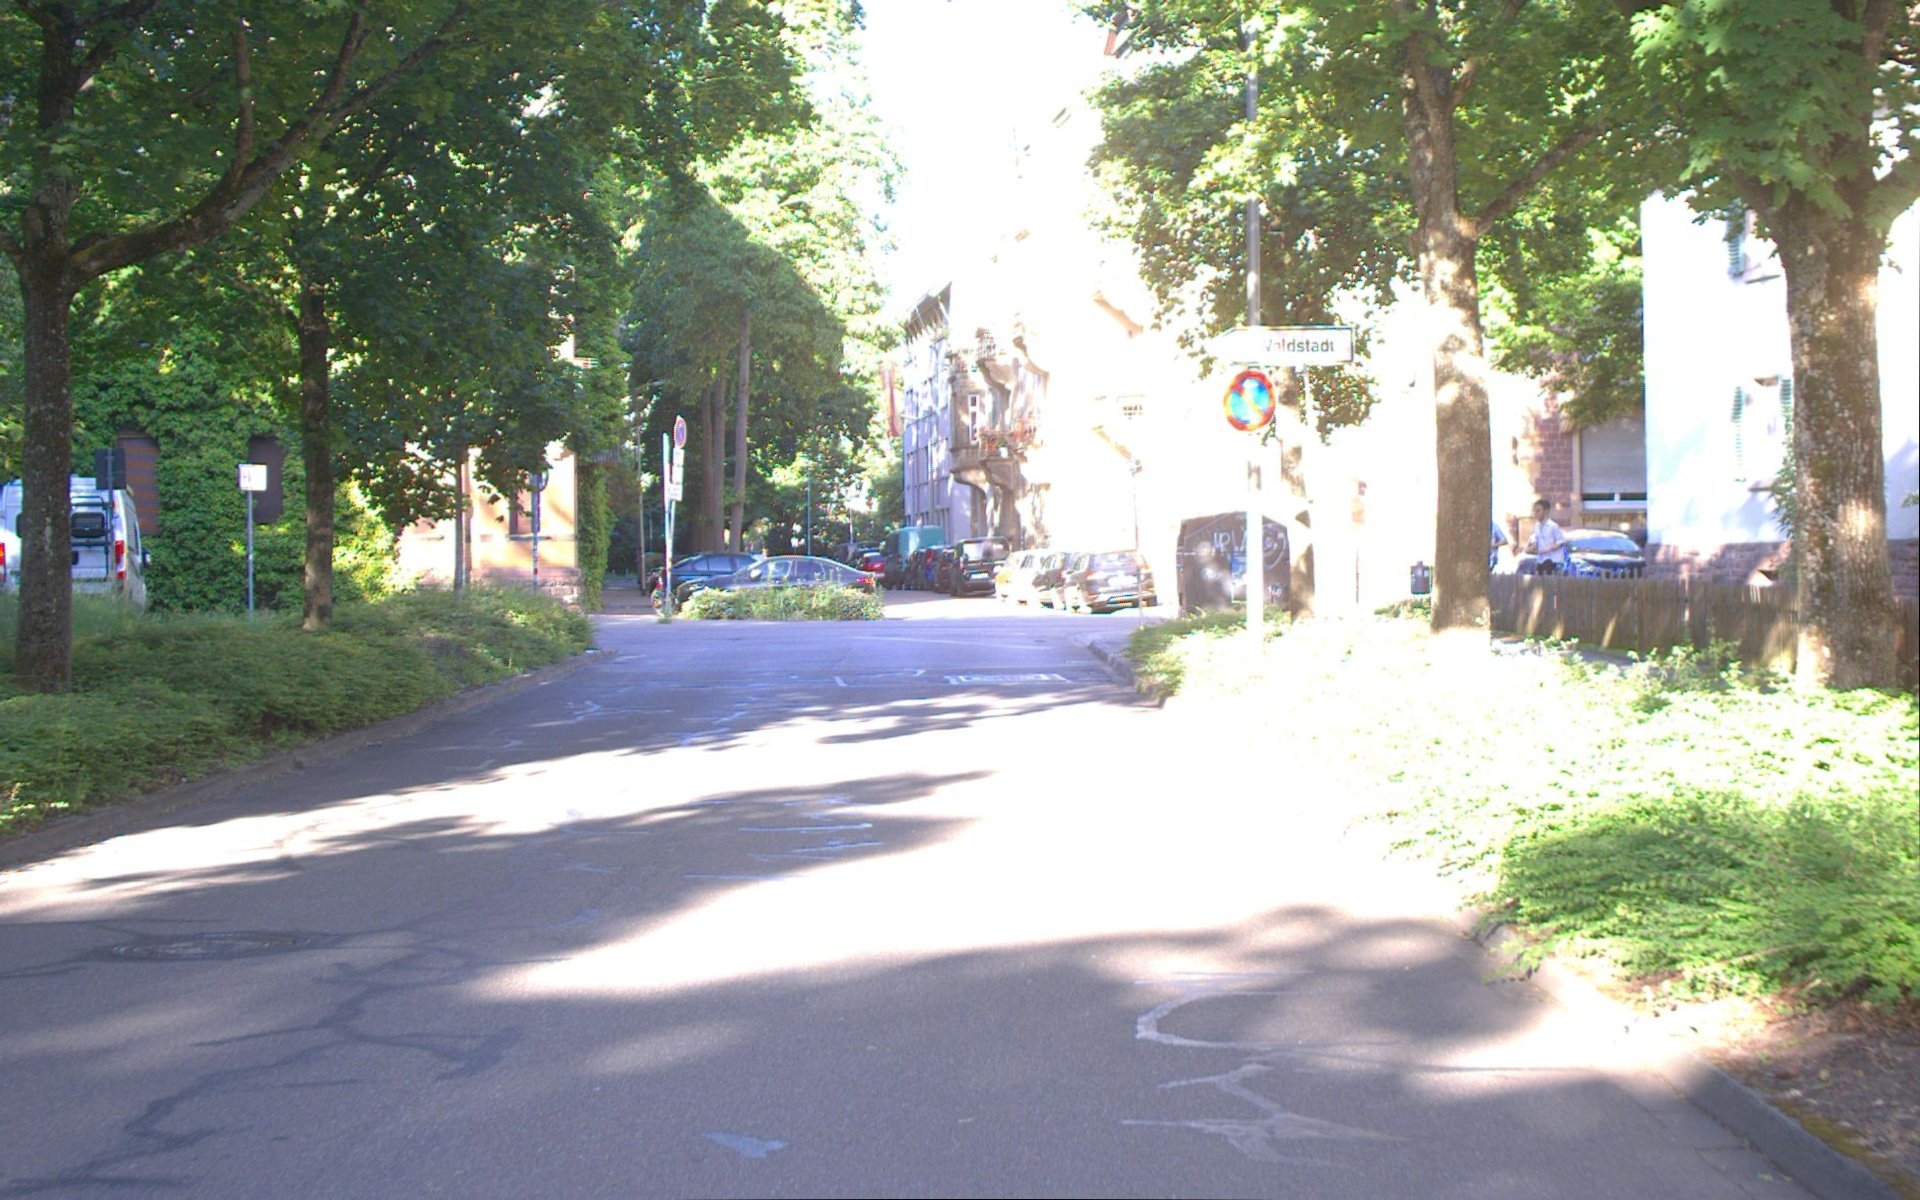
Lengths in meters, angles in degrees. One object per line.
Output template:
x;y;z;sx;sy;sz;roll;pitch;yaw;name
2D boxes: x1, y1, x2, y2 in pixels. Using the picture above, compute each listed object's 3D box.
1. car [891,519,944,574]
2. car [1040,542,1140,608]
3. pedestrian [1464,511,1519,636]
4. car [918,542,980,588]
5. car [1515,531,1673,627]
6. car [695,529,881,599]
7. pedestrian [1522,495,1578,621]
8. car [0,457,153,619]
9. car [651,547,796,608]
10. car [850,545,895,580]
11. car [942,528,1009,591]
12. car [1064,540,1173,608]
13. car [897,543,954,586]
-1.643;-2.055;132.491;1.811;2.043;4.001;1;1;-4;car
3.183;-0.633;85.246;1.993;1.568;4.001;1;1;-5;car
8.003;-0.406;51.783;0.615;1.864;0.695;1;1;-7;pedestrian
-0.390;-1.189;115.825;1.811;1.496;4.001;1;1;-4;car
10.846;-0.372;59.030;1.993;1.579;3.640;1;1;-1;car
-3.869;-0.816;77.009;3.986;1.496;1.818;1;1;-8;car
8.845;-0.625;51.531;0.615;1.864;0.695;1;1;-7;pedestrian
-14.259;-0.995;55.641;1.993;2.499;4.001;0;1;-9;car
-6.079;-0.588;88.247;3.586;1.505;1.500;1;1;-8;car
-3.815;-1.645;149.559;1.811;1.496;4.001;1;1;-4;car
0.457;-1.280;107.635;1.811;1.919;4.001;1;1;-4;car
3.613;-0.616;79.003;1.811;1.496;4.001;-1;1;-7;car
-1.258;-1.276;122.462;1.811;1.496;4.001;1;1;-4;car
